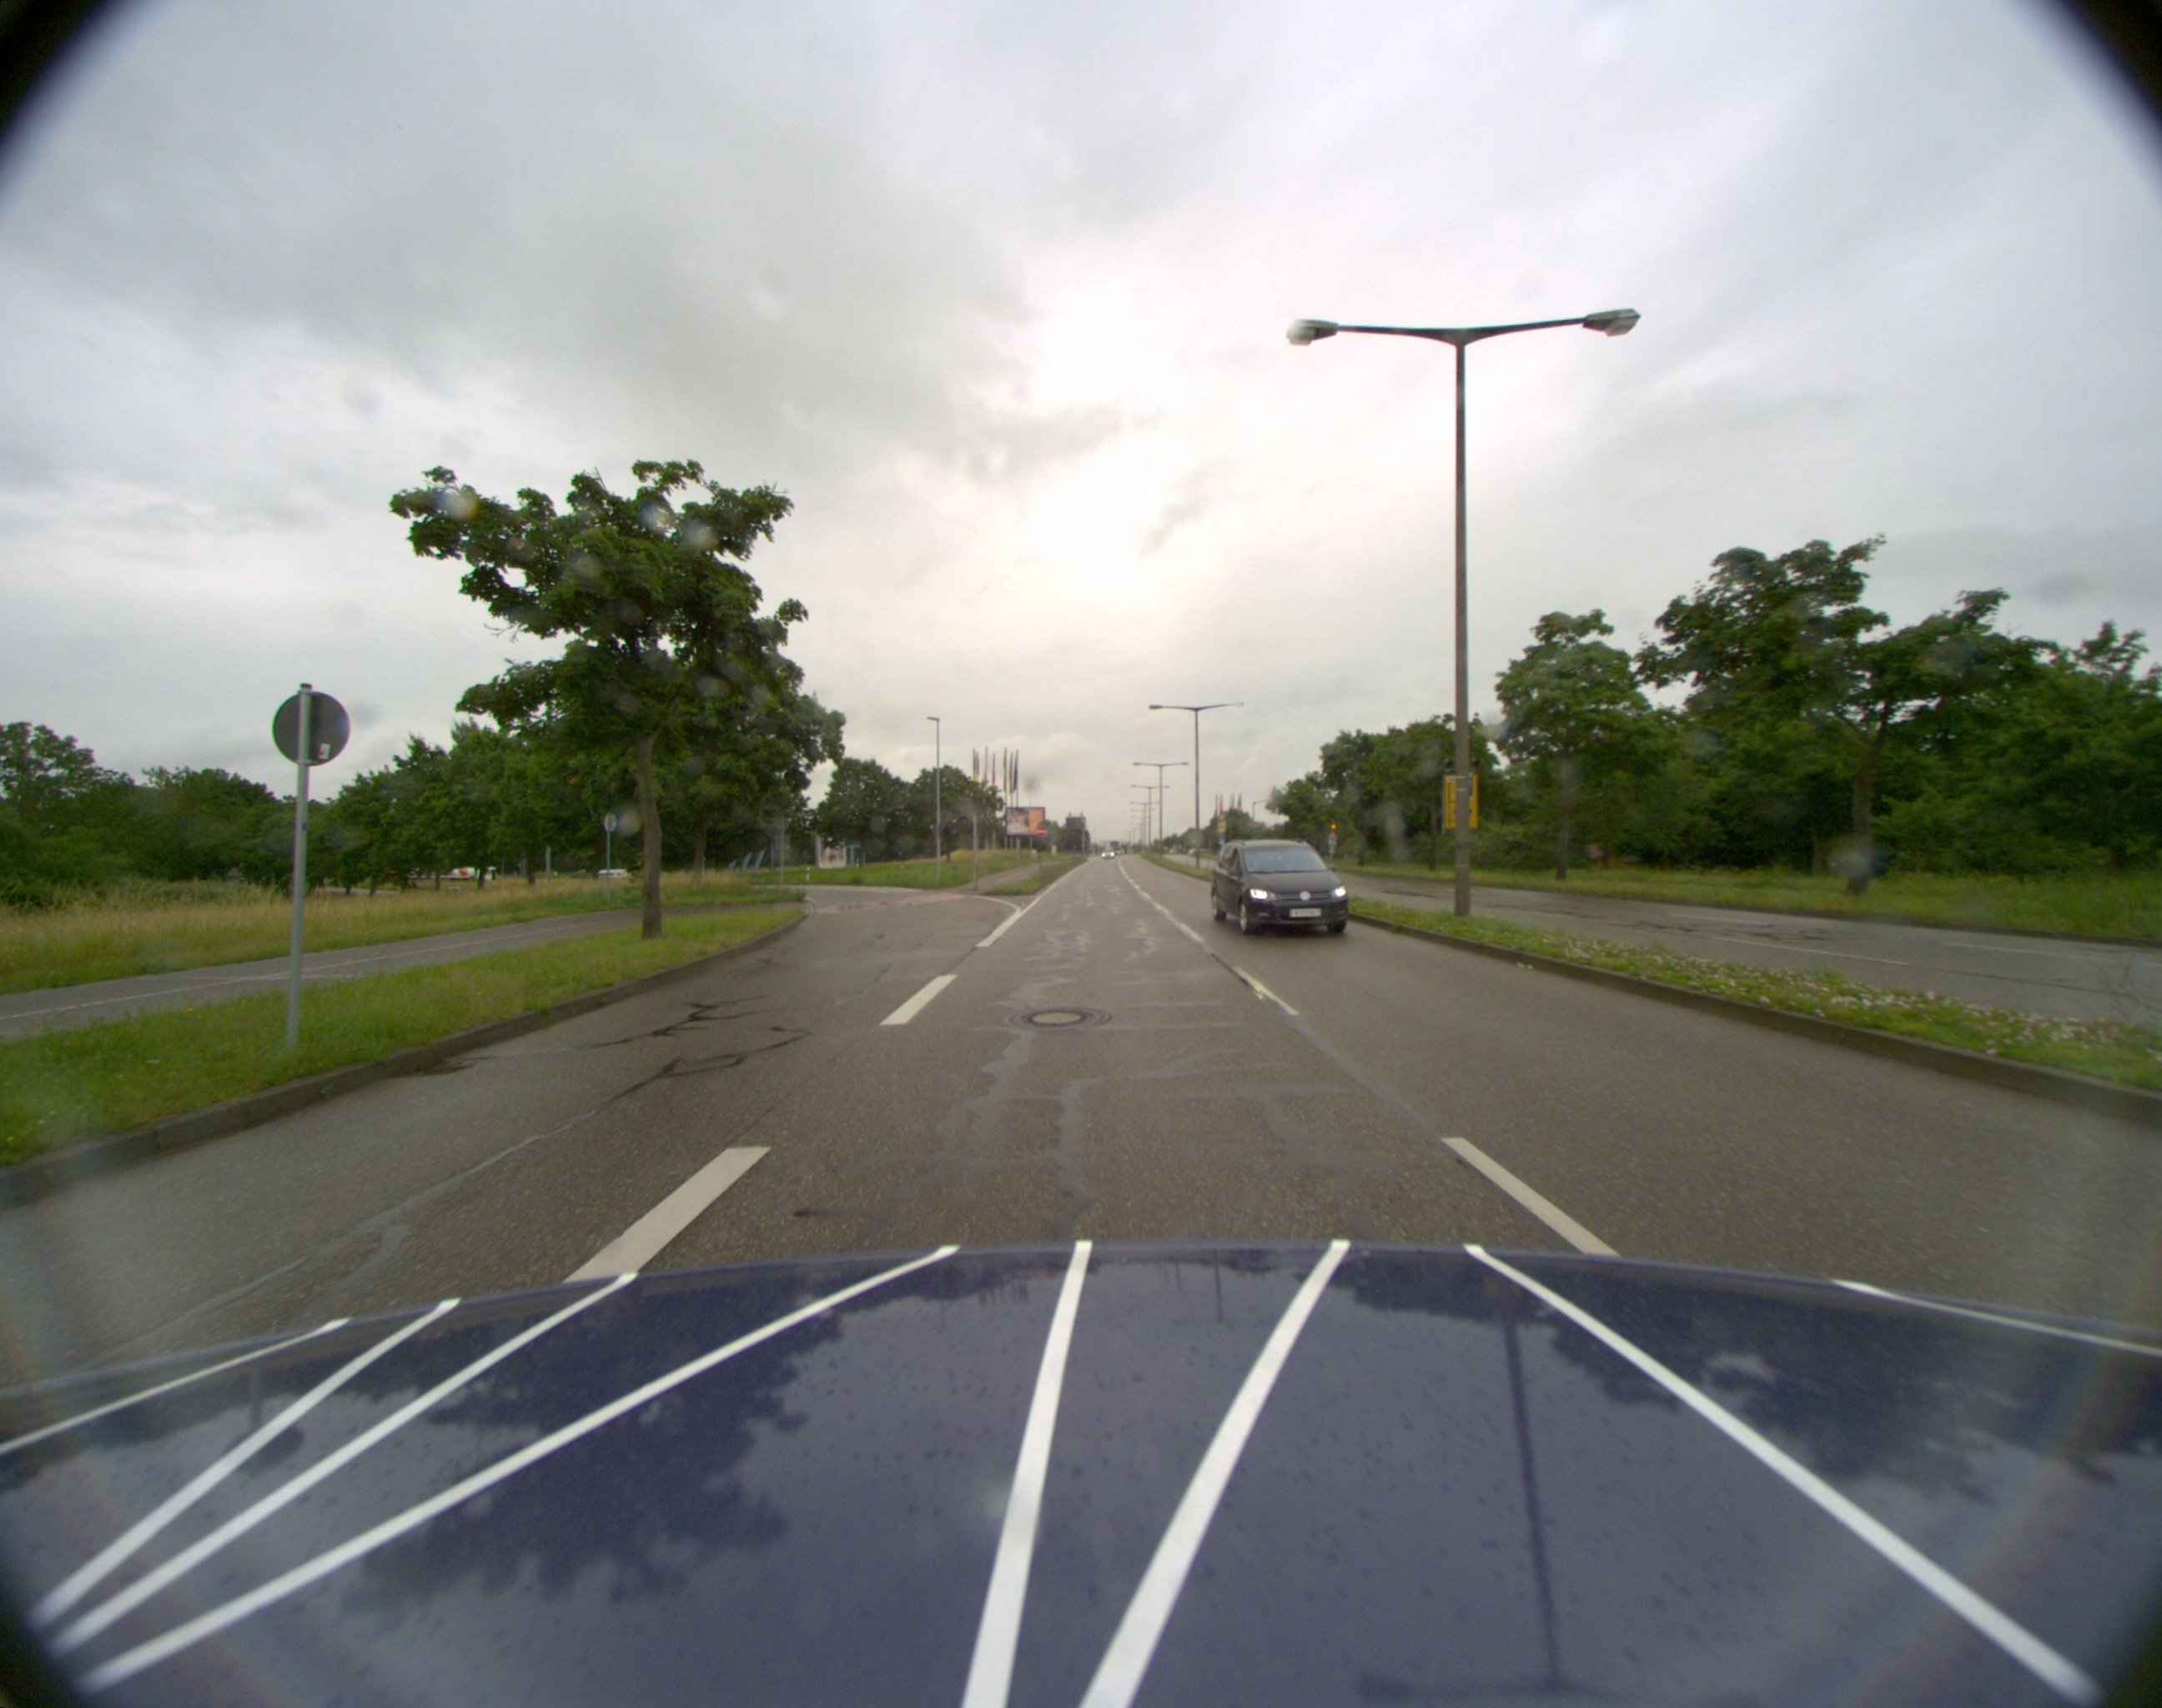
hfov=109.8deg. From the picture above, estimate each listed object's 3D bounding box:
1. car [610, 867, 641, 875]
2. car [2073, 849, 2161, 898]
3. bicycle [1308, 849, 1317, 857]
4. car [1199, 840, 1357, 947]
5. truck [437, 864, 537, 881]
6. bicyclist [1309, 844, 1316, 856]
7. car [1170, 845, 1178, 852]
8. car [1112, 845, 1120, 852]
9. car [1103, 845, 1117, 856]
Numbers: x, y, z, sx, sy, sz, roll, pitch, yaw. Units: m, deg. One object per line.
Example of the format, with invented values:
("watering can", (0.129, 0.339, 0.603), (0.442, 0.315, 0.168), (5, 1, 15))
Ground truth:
("car", (-98.099, 3.719, 163.562), (5.293, 1.597, 2.237), (-1, 1, -18))
("car", (39.074, 0.668, 27.516), (3.999, 1.675, 1.999), (0, 0, -5))
("bicycle", (25.356, -0.108, 83.292), (0.523, 0.881, 1.633), (-2, 1, 3))
("car", (3.656, 0.654, 15.056), (1.850, 1.740, 4.817), (-1, 0, 0))
("truck", (-112.498, 3.448, 144.134), (14.635, 2.715, 3.501), (-1, 1, -16))
("bicyclist", (25.346, -0.488, 83.279), (0.523, 1.295, 0.808), (-2, 1, 3))
("car", (27.149, -1.571, 222.027), (1.711, 1.619, 4.494), (2, -2, 3))
("car", (9.061, -1.394, 194.914), (1.998, 1.703, 4.000), (-1, 0, 2))
("car", (4.374, -0.537, 114.858), (1.998, 1.701, 4.000), (-1, 1, 2))
